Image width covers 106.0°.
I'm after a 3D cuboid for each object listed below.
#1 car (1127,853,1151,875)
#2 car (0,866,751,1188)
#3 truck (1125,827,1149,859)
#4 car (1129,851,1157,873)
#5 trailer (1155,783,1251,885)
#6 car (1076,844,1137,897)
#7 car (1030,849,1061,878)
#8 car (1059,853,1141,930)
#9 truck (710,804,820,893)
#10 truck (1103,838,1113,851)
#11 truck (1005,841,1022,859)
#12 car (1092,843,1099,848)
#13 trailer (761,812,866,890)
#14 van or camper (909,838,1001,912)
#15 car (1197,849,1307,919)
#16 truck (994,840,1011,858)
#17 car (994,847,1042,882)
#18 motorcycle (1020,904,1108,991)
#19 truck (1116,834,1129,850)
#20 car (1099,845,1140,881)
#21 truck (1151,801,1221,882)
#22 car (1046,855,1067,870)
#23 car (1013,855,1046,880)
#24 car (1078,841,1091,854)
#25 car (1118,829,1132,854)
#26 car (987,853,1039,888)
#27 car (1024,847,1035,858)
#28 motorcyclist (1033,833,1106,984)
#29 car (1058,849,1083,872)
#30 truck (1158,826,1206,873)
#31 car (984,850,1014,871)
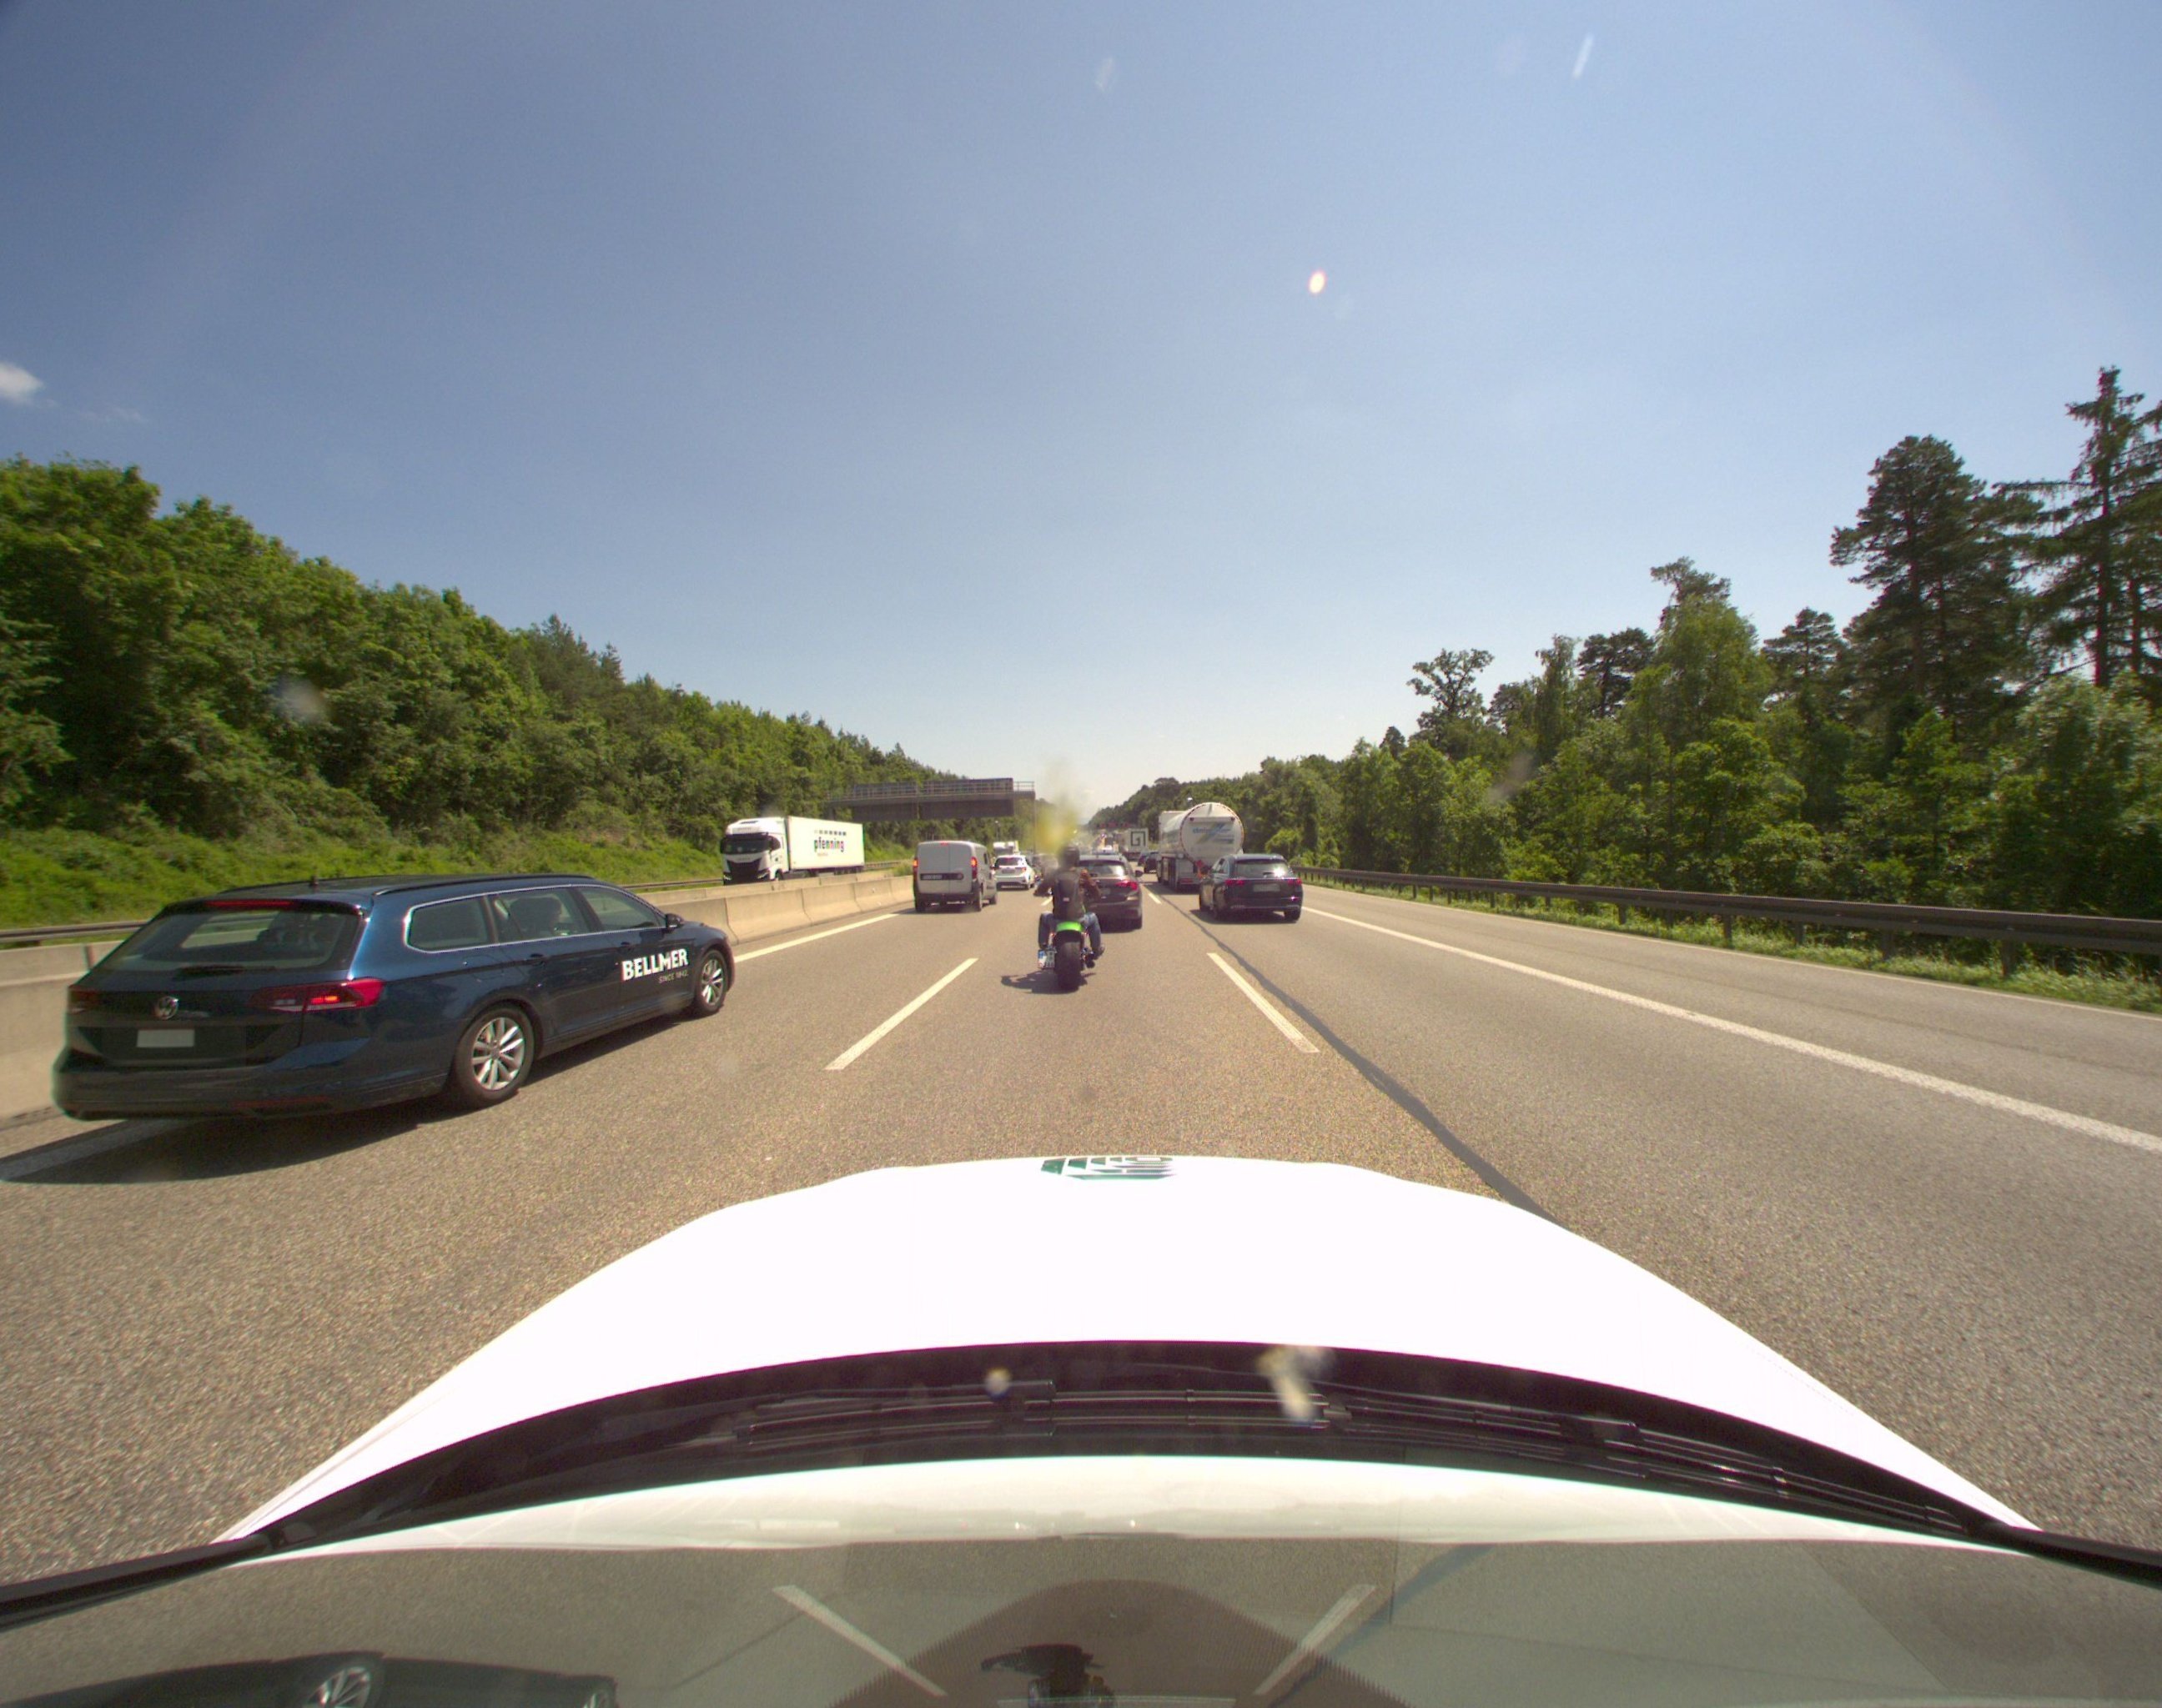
[{"bbox_3d":[5.353,0.927,75.888,1.987,2.014,4.000,0,-1,0],"label":"car"},{"bbox_3d":[-4.440,0.841,6.127,1.867,1.450,4.680,-1,0,2],"label":"car"},{"bbox_3d":[7.178,-1.312,103.323,2.840,3.821,7.196,-1,-1,5],"label":"truck"},{"bbox_3d":[4.283,0.571,56.967,1.769,1.527,4.001,-1,-1,2],"label":"car"},{"bbox_3d":[4.873,-0.638,34.717,2.817,3.671,10.736,-1,-1,2],"label":"trailer"},{"bbox_3d":[0.888,0.573,28.619,1.986,1.711,4.000,0,-1,1],"label":"car"},{"bbox_3d":[-2.548,0.710,59.384,1.986,2.014,4.001,0,-1,1],"label":"car"},{"bbox_3d":[0.439,0.707,17.385,1.535,1.450,4.002,-1,0,2],"label":"car"},{"bbox_3d":[-17.320,-0.235,45.289,2.937,4.481,7.522,-1,-1,2],"label":"truck"},{"bbox_3d":[7.310,-2.641,222.260,2.686,3.405,10.483,-2,0,2],"label":"truck"},{"bbox_3d":[-15.147,-0.876,183.053,2.682,3.990,7.993,-1,-1,2],"label":"truck"},{"bbox_3d":[4.454,-2.514,249.337,1.763,1.556,4.002,-2,0,2],"label":"car"},{"bbox_3d":[-17.003,-0.102,52.817,2.938,4.481,10.820,-1,-1,2],"label":"trailer"},{"bbox_3d":[-3.466,0.522,23.197,1.846,1.880,4.562,0,1,1],"label":"van or camper"},{"bbox_3d":[3.907,0.660,19.332,1.785,1.458,4.626,-1,-1,2],"label":"car"},{"bbox_3d":[-13.480,-0.873,140.082,2.170,2.885,6.744,0,-1,1],"label":"truck"},{"bbox_3d":[-3.173,0.563,41.777,1.986,1.684,4.332,-1,-1,2],"label":"car"},{"bbox_3d":[-0.147,1.081,9.938,0.932,0.793,2.300,-1,0,2],"label":"motorcycle"},{"bbox_3d":[9.205,-2.563,180.487,2.686,3.405,10.483,-2,0,2],"label":"truck"},{"bbox_3d":[1.945,0.470,42.333,1.986,1.775,4.000,0,-1,1],"label":"car"},{"bbox_3d":[5.078,-0.540,40.497,2.817,3.671,6.432,-1,-1,2],"label":"truck"},{"bbox_3d":[-2.311,0.803,77.534,1.757,1.442,4.002,-1,-1,2],"label":"car"},{"bbox_3d":[-3.189,0.828,50.363,1.990,1.464,3.994,0,-1,-4],"label":"car"},{"bbox_3d":[0.556,-1.003,127.822,1.986,2.013,4.002,-2,0,2],"label":"car"},{"bbox_3d":[7.212,-2.019,135.014,2.159,3.893,9.333,-1,-1,2],"label":"car"},{"bbox_3d":[-2.906,0.705,35.629,1.769,1.411,4.001,-1,-1,2],"label":"car"},{"bbox_3d":[-9.662,-0.268,153.358,1.777,1.838,4.295,-1,-1,2],"label":"car"},{"bbox_3d":[-0.112,0.619,9.630,0.796,1.688,1.017,0,-1,2],"label":"motorcyclist"},{"bbox_3d":[-0.909,0.622,72.987,1.986,2.014,4.001,-1,-1,2],"label":"car"},{"bbox_3d":[6.832,-0.297,56.127,2.380,2.979,8.254,-1,0,1],"label":"truck"},{"bbox_3d":[-6.284,0.463,62.873,1.818,1.494,4.001,-1,0,1],"label":"car"}]
